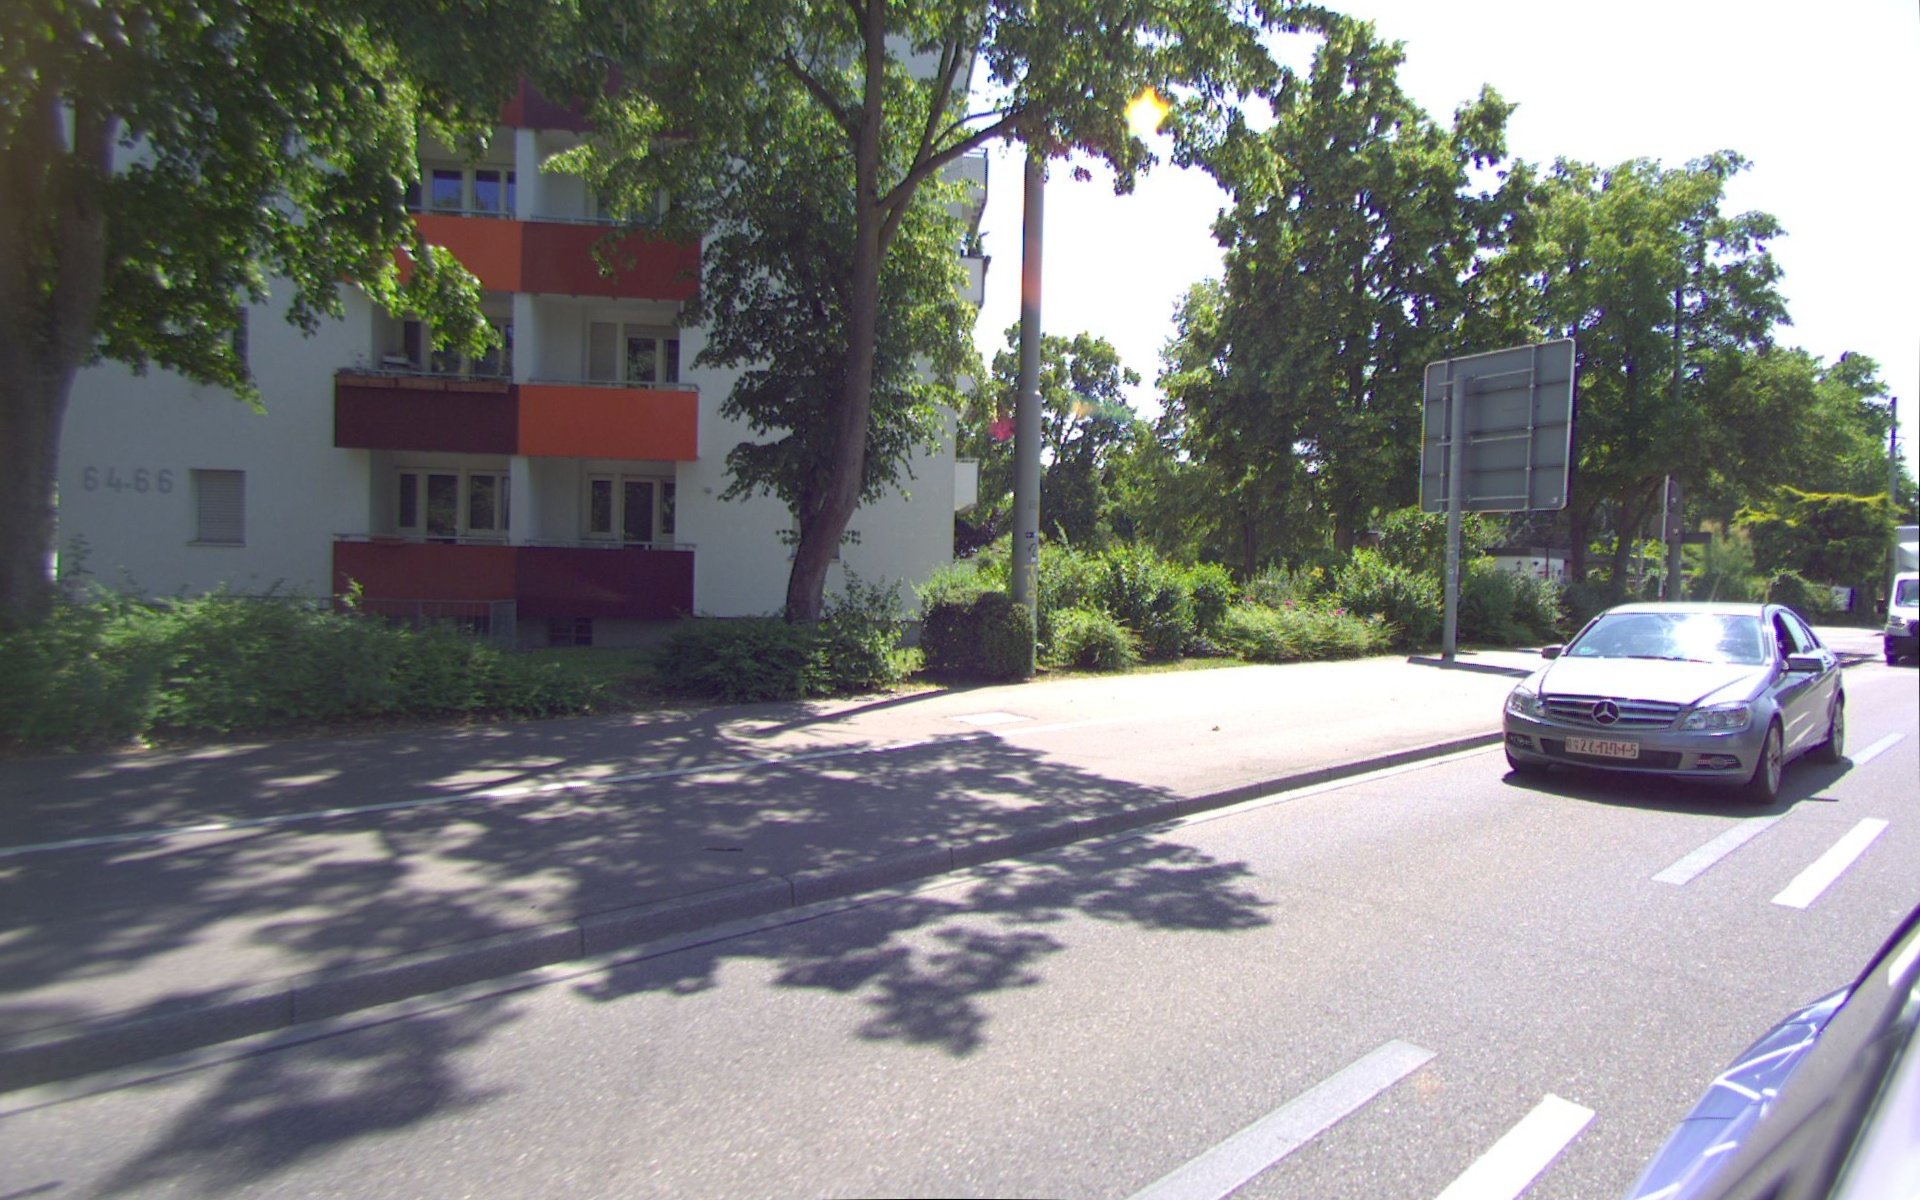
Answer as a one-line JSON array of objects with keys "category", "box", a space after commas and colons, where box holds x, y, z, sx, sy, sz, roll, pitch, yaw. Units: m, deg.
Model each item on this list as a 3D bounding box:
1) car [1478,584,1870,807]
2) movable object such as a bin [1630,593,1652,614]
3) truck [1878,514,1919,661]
[{"category": "car", "box": [6.272, 0.615, 8.739, 3.902, 1.478, 1.902, 0, 1, -41]}, {"category": "movable object such as a bin", "box": [30.834, 0.146, 45.829, 0.625, 0.914, 0.631, 0, 2, -37]}, {"category": "truck", "box": [25.125, -0.324, 25.067, 8.162, 3.318, 2.294, -1, 2, -39]}]
